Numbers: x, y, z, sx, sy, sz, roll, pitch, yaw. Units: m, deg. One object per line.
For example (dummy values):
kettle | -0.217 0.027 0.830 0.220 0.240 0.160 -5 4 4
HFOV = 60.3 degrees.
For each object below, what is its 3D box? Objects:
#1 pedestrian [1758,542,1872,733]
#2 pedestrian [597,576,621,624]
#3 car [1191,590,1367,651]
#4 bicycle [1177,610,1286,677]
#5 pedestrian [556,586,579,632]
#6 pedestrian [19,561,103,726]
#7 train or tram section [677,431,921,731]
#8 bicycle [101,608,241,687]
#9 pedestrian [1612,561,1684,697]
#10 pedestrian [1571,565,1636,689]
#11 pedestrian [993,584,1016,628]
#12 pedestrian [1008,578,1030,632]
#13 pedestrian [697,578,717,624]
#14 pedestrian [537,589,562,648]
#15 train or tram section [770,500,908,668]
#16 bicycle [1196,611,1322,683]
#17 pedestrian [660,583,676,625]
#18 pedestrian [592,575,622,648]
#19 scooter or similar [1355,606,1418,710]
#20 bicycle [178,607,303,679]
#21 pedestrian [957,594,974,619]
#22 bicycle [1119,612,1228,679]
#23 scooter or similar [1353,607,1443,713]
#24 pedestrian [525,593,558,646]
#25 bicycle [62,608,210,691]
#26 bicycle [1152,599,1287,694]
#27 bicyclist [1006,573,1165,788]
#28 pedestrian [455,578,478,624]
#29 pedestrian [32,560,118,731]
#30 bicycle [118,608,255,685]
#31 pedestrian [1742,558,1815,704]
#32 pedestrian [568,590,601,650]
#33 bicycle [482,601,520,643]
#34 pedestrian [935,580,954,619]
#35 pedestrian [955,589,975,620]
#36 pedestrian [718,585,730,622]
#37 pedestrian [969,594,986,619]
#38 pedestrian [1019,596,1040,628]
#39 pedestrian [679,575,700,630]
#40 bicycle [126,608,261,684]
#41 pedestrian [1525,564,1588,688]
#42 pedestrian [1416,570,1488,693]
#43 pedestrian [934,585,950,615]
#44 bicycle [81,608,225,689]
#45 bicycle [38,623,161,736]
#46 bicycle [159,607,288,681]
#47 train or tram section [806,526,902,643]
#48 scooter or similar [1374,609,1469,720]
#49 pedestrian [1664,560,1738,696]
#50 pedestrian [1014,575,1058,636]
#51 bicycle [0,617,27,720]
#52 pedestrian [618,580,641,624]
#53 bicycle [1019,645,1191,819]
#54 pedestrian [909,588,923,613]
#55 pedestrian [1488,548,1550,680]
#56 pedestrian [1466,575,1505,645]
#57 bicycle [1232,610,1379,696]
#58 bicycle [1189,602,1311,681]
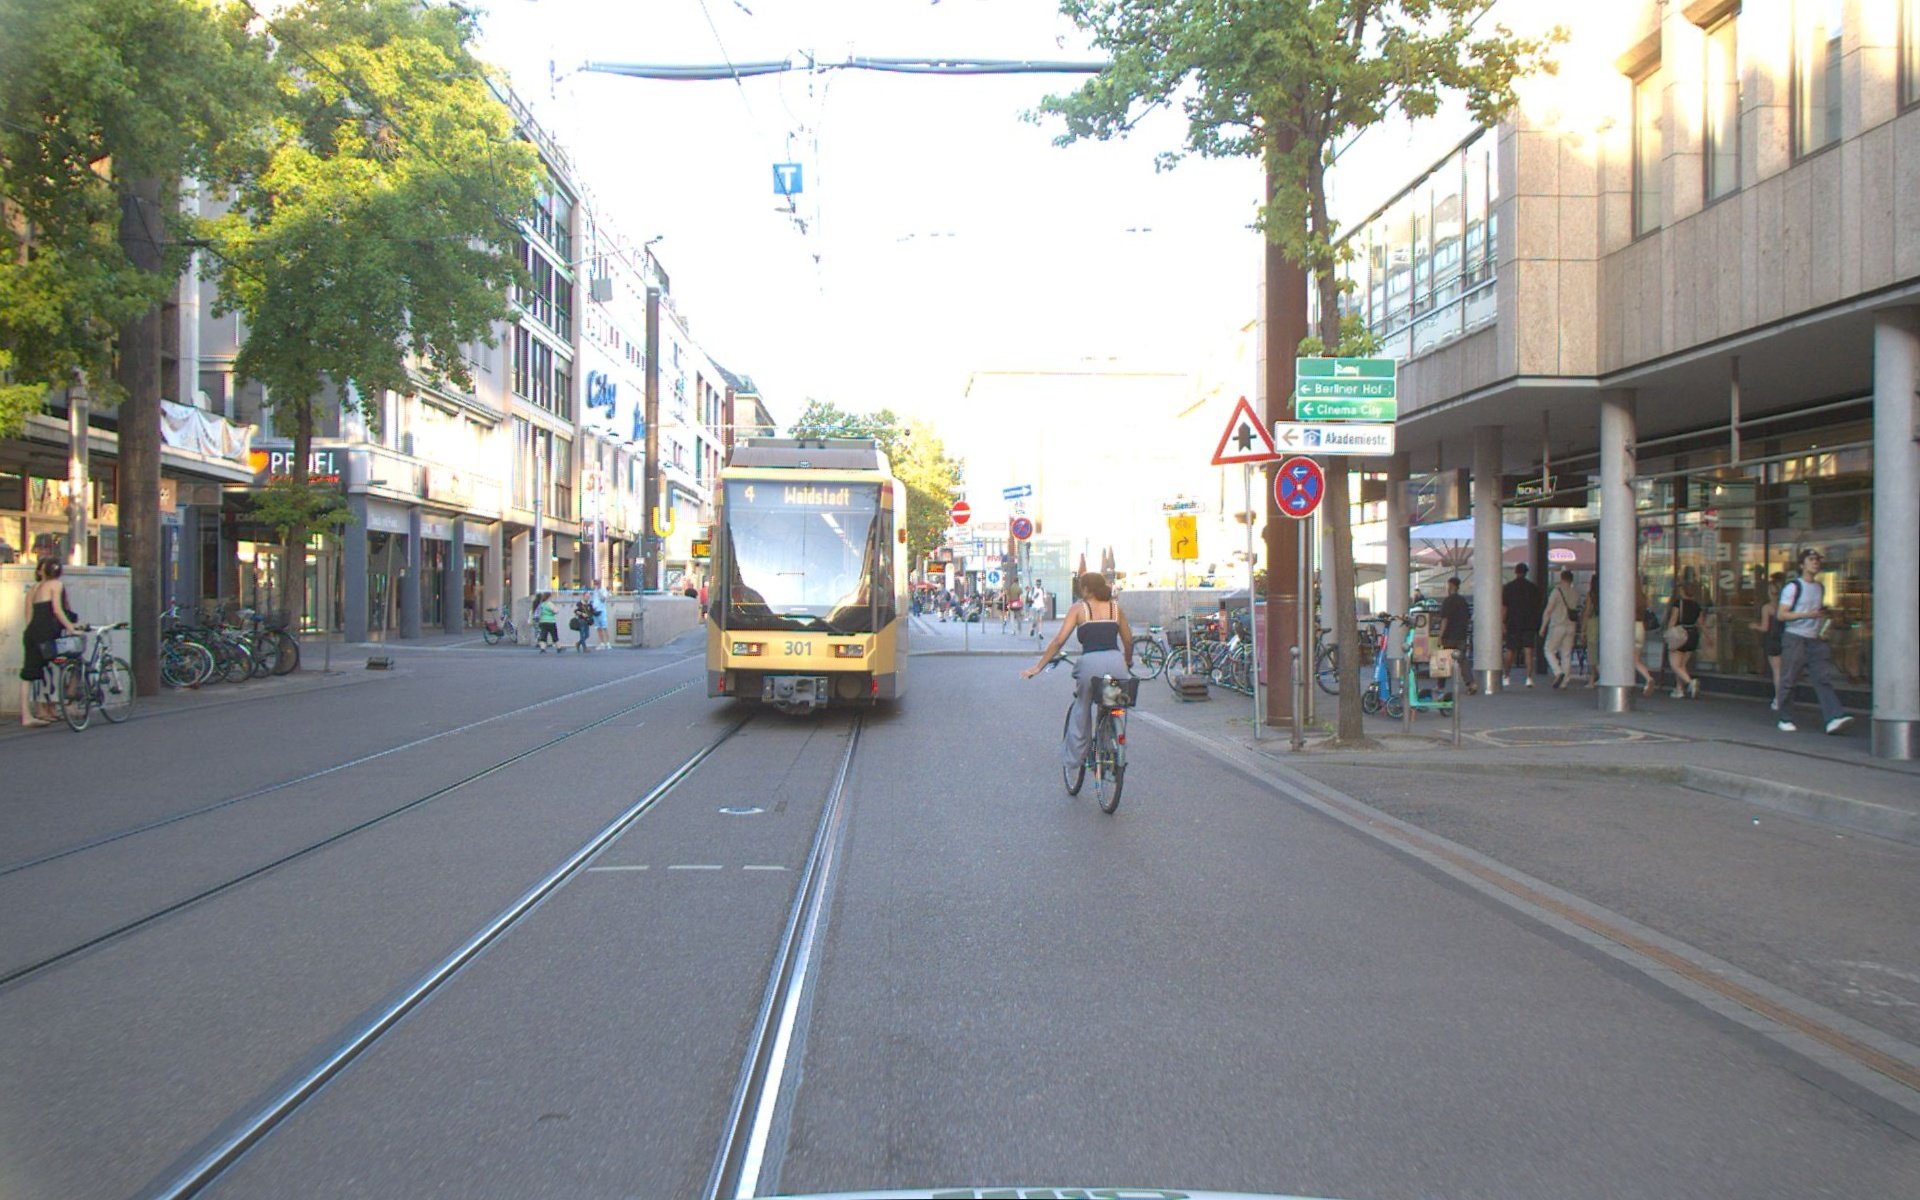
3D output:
pedestrian | 8.639 0.373 16.736 0.655 1.872 0.879 -1 0 -2
pedestrian | -13.045 0.012 61.452 0.595 1.756 0.624 -1 -1 44
car | 7.820 0.504 40.773 3.959 1.434 1.774 1 -1 -4
bicycle | 4.858 0.776 29.640 1.816 1.128 0.666 -1 0 -5
pedestrian | -14.890 0.345 62.755 0.699 1.756 0.709 0 -1 -4
pedestrian | -9.613 0.451 17.690 0.589 1.729 0.535 1 0 27
train or tram section | -2.128 -0.266 25.988 2.744 3.377 14.501 0 0 -2
bicycle | -11.326 0.677 23.765 1.736 1.063 0.489 2 0 -2
pedestrian | 9.401 0.394 22.619 0.649 1.818 0.719 -1 0 -2
pedestrian | 9.624 0.402 24.754 0.649 1.818 0.719 -1 0 -2
pedestrian | 1.875 0.261 69.806 0.722 1.855 0.816 0 0 -17
pedestrian | 1.952 0.172 54.903 0.703 1.756 0.709 0 -1 -2
pedestrian | -9.487 0.039 62.068 0.700 1.727 0.784 0 -1 -8
pedestrian | -10.597 0.470 42.687 0.592 1.520 0.554 0 -1 -10
train or tram section | -2.742 -0.376 40.474 2.744 3.377 14.501 0 0 -2
bicycle | 4.937 0.768 27.360 1.878 1.096 0.762 -2 0 -7
pedestrian | -11.402 0.162 64.570 0.592 1.616 0.626 0 -1 -12
pedestrian | -9.631 0.320 45.162 0.759 1.960 0.708 0 -1 -10
scooter or similar | 5.531 0.730 21.416 0.385 1.273 1.187 0 1 36
bicycle | -11.400 0.681 26.225 1.736 1.063 0.489 2 0 -2
pedestrian | 0.261 0.326 82.922 0.777 1.243 0.768 0 0 -6
bicycle | 3.796 0.805 29.452 1.816 1.128 0.666 -1 0 -5
scooter or similar | 5.508 0.741 20.793 1.176 1.273 0.389 -1 1 -32
pedestrian | -11.636 0.538 45.984 0.544 1.459 0.682 -1 -1 35
bicycle | -11.294 0.676 22.702 1.736 1.063 0.489 2 0 -2
bicycle | 3.967 0.696 25.317 1.878 1.356 0.724 -2 0 -7
bicyclist | 0.920 0.578 12.336 0.978 1.528 0.855 2 0 -9
pedestrian | -19.329 0.042 64.812 0.699 1.756 0.709 0 -1 -4
pedestrian | -9.193 0.457 17.190 0.589 1.729 0.535 1 0 27
bicycle | -11.370 0.677 24.341 1.736 1.063 0.489 2 0 -2
pedestrian | 10.063 0.376 20.343 0.559 1.762 0.617 -1 0 -3
pedestrian | -9.831 0.531 43.326 0.669 1.569 0.606 0 -1 6
bicycle | -13.144 0.612 47.386 0.488 1.127 1.801 0 2 3
pedestrian | -0.731 -0.008 79.161 0.722 1.855 0.816 0 0 -17
pedestrian | 0.250 0.243 87.028 0.752 1.606 0.794 0 0 27
pedestrian | -10.590 0.167 74.240 0.502 1.646 0.504 0 -1 -11
pedestrian | 0.882 0.335 82.144 0.777 1.243 0.768 0 0 -6
pedestrian | 3.652 0.630 86.791 0.763 1.690 0.782 0 0 -43
pedestrian | -9.635 0.103 58.944 0.700 1.959 0.708 0 -1 -7
bicycle | -11.376 0.678 24.584 1.736 1.063 0.489 2 0 -2
pedestrian | 8.907 0.390 24.723 0.649 1.818 0.719 -1 0 -2
pedestrian | 7.141 0.450 24.038 0.748 1.749 0.923 -1 0 -1
pedestrian | -1.038 -0.010 94.918 0.775 1.690 0.770 0 0 9
bicycle | -11.308 0.676 23.194 1.736 1.063 0.489 2 0 -2
bicycle | -8.937 0.798 17.249 0.478 1.063 1.776 1 1 -5
bicycle | -11.414 0.679 25.644 1.736 1.063 0.489 2 0 -2
train or tram section | -3.364 -0.490 54.995 2.744 3.377 14.501 0 0 -2
scooter or similar | 5.575 0.758 19.955 1.102 1.273 0.491 -1 1 -33
pedestrian | 10.123 0.376 22.621 0.649 1.818 0.719 -1 0 -2
pedestrian | 2.440 0.174 52.950 1.002 1.896 1.033 1 0 -28
bicycle | -10.272 0.727 17.004 0.478 1.063 1.776 1 1 -5
pedestrian | -12.385 0.080 61.953 0.623 1.616 0.595 1 -1 -45
bicycle | 1.034 0.936 12.353 0.800 1.092 2.109 2 0 -8
pedestrian | -2.988 -0.001 112.490 0.775 1.690 0.770 0 0 9
pedestrian | 8.794 0.217 26.034 0.672 2.049 0.782 -1 0 -2
pedestrian | 14.075 0.271 44.320 0.791 1.855 0.806 0 1 2
bicycle | 5.087 0.770 24.402 1.958 1.175 0.724 -2 0 -7
bicycle | 4.913 0.693 28.106 1.878 1.244 0.762 -2 0 -7
